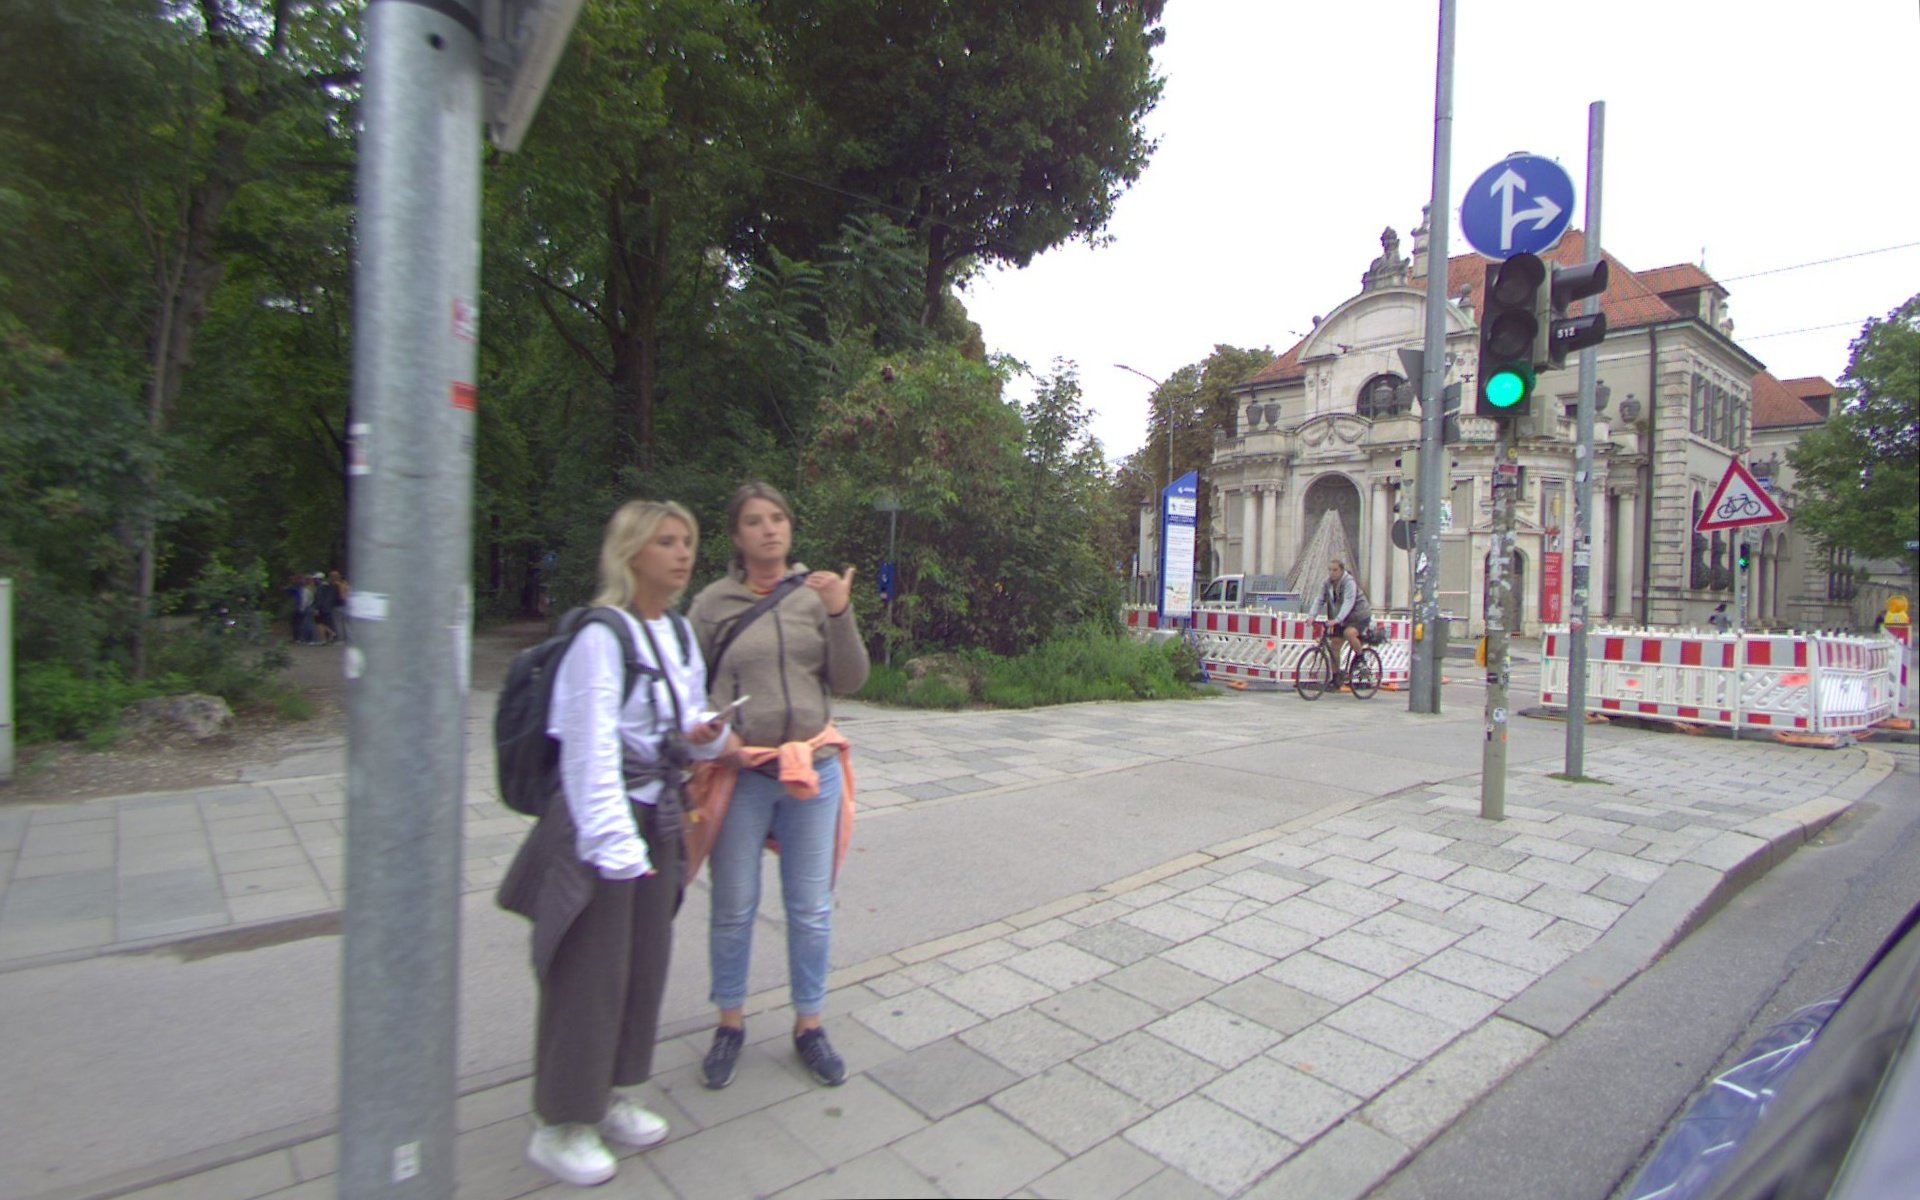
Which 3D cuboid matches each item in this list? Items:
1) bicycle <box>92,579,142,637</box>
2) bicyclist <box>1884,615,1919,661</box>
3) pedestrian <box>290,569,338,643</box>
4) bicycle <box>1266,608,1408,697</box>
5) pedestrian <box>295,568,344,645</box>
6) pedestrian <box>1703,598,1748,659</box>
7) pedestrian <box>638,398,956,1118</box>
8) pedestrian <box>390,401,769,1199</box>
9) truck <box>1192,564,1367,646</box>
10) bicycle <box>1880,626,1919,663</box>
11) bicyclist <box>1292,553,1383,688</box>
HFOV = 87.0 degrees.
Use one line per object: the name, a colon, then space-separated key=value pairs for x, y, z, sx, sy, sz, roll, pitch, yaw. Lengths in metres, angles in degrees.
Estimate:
bicycle: x=-18.341 y=0.167 z=22.004 sx=1.839 sy=1.208 sz=0.376 roll=0 pitch=-1 yaw=37
bicyclist: x=28.294 y=1.126 z=30.303 sx=0.878 sy=1.330 sz=0.807 roll=2 pitch=-1 yaw=-41
pedestrian: x=-15.949 y=0.142 z=24.994 sx=0.621 sy=1.794 sz=0.731 roll=1 pitch=0 yaw=17
bicycle: x=4.946 y=0.654 z=13.196 sx=2.123 sy=1.071 sz=0.740 roll=1 pitch=-1 yaw=-38
pedestrian: x=-15.314 y=0.147 z=24.189 sx=0.621 sy=1.794 sz=0.731 roll=1 pitch=0 yaw=17
pedestrian: x=22.829 y=0.844 z=30.200 sx=1.062 sy=1.787 sz=0.763 roll=0 pitch=-1 yaw=38
pedestrian: x=-0.472 y=0.387 z=2.945 sx=0.609 sy=1.783 sz=0.625 roll=2 pitch=0 yaw=44
pedestrian: x=-0.930 y=0.488 z=2.471 sx=0.625 sy=1.783 sz=0.625 roll=2 pitch=0 yaw=-45
truck: x=10.687 y=0.174 z=34.469 sx=2.247 sy=2.526 sz=5.946 roll=1 pitch=-1 yaw=-25
bicycle: x=28.207 y=1.311 z=30.225 sx=2.021 sy=1.020 sz=0.829 roll=1 pitch=-1 yaw=-41
bicyclist: x=4.910 y=0.261 z=13.166 sx=0.882 sy=1.688 sz=0.758 roll=1 pitch=-1 yaw=-38
